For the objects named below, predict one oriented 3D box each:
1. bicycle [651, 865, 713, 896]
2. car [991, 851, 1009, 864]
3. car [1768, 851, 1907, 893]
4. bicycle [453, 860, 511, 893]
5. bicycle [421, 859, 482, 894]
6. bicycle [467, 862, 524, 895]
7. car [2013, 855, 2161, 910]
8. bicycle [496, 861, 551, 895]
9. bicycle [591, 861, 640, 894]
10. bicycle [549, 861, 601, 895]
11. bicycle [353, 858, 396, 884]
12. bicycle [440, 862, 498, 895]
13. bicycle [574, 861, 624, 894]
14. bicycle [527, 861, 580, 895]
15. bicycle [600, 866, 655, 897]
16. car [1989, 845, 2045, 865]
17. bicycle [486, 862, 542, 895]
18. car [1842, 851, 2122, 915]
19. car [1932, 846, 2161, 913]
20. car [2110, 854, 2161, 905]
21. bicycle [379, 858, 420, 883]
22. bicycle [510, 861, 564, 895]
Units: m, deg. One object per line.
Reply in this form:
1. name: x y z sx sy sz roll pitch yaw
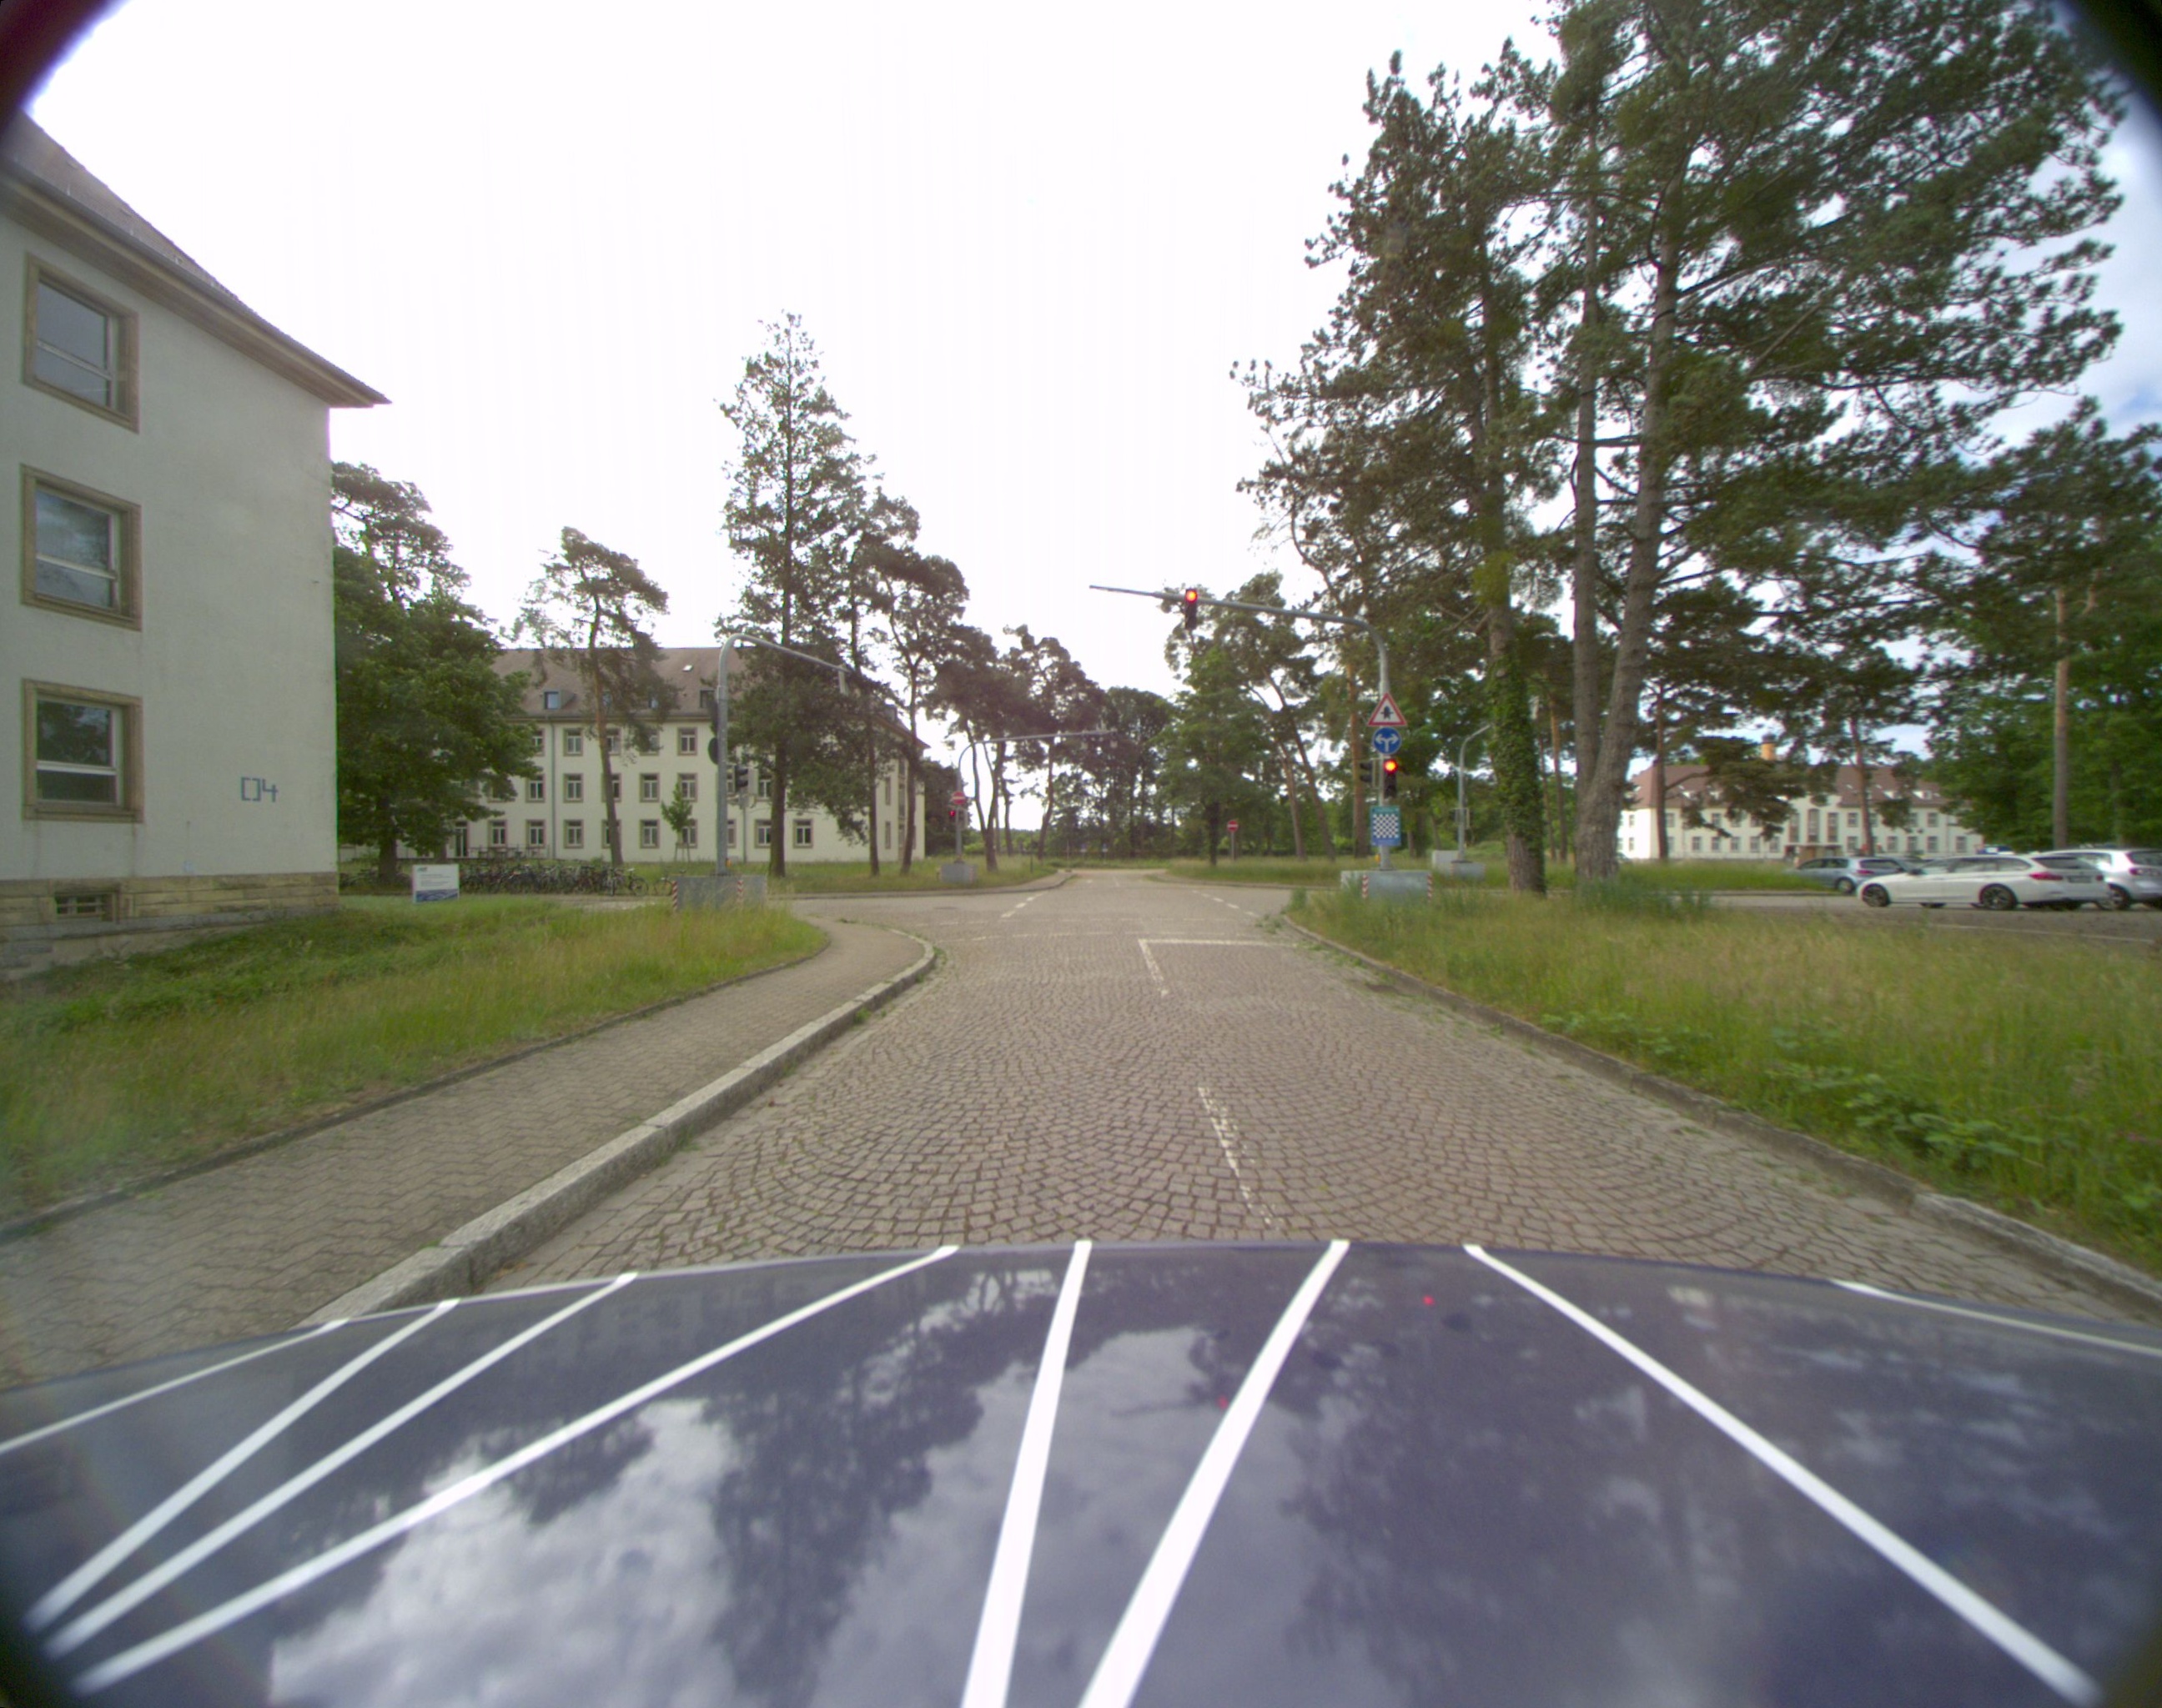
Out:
1. bicycle: -14.486 0.964 27.601 1.986 1.107 0.624 -1 0 5
2. car: -9.057 0.422 85.125 1.487 1.428 3.196 0 -1 3
3. car: 30.963 0.696 31.285 1.696 1.421 4.012 0 3 1
4. bicycle: -22.962 0.844 29.170 0.624 1.240 1.989 0 0 1
5. bicycle: -24.115 0.839 29.169 0.624 1.241 1.988 0 2 1
6. bicycle: -22.447 0.918 29.184 0.624 1.240 1.989 0 0 1
7. car: 28.817 0.768 20.564 1.721 1.415 4.451 0 -2 0
8. bicycle: -21.369 0.909 29.182 0.624 1.240 1.989 0 0 1
9. bicycle: -17.800 0.878 29.112 0.624 1.240 1.989 0 0 1
10. bicycle: -19.354 0.892 29.125 0.624 1.240 1.989 0 0 1
11. bicycle: -32.356 0.763 34.827 0.400 1.118 1.554 0 1 4
12. bicycle: -23.455 0.927 29.163 0.624 1.240 1.989 0 0 1
13. bicycle: -18.428 0.884 29.123 0.624 1.240 1.989 0 0 1
14. bicycle: -20.213 0.899 29.139 0.624 1.240 1.989 0 0 1
15. bicycle: -16.442 0.995 27.569 1.675 1.076 0.624 -1 0 6
16. car: 113.737 0.174 92.350 4.443 2.350 1.864 -1 0 2
17. bicycle: -21.709 0.911 29.123 0.624 1.240 1.989 0 0 1
18. car: 23.612 0.738 20.284 1.865 1.479 4.755 1 -1 0
19. car: 26.164 0.662 20.266 1.872 1.588 4.376 0 -1 -3
20. car: 31.496 0.686 20.672 1.584 1.461 3.963 0 -2 -1
21. bicycle: -31.129 0.754 34.727 0.400 1.118 1.554 0 1 4
22. bicycle: -20.845 0.905 29.157 0.624 1.240 1.989 0 0 1
